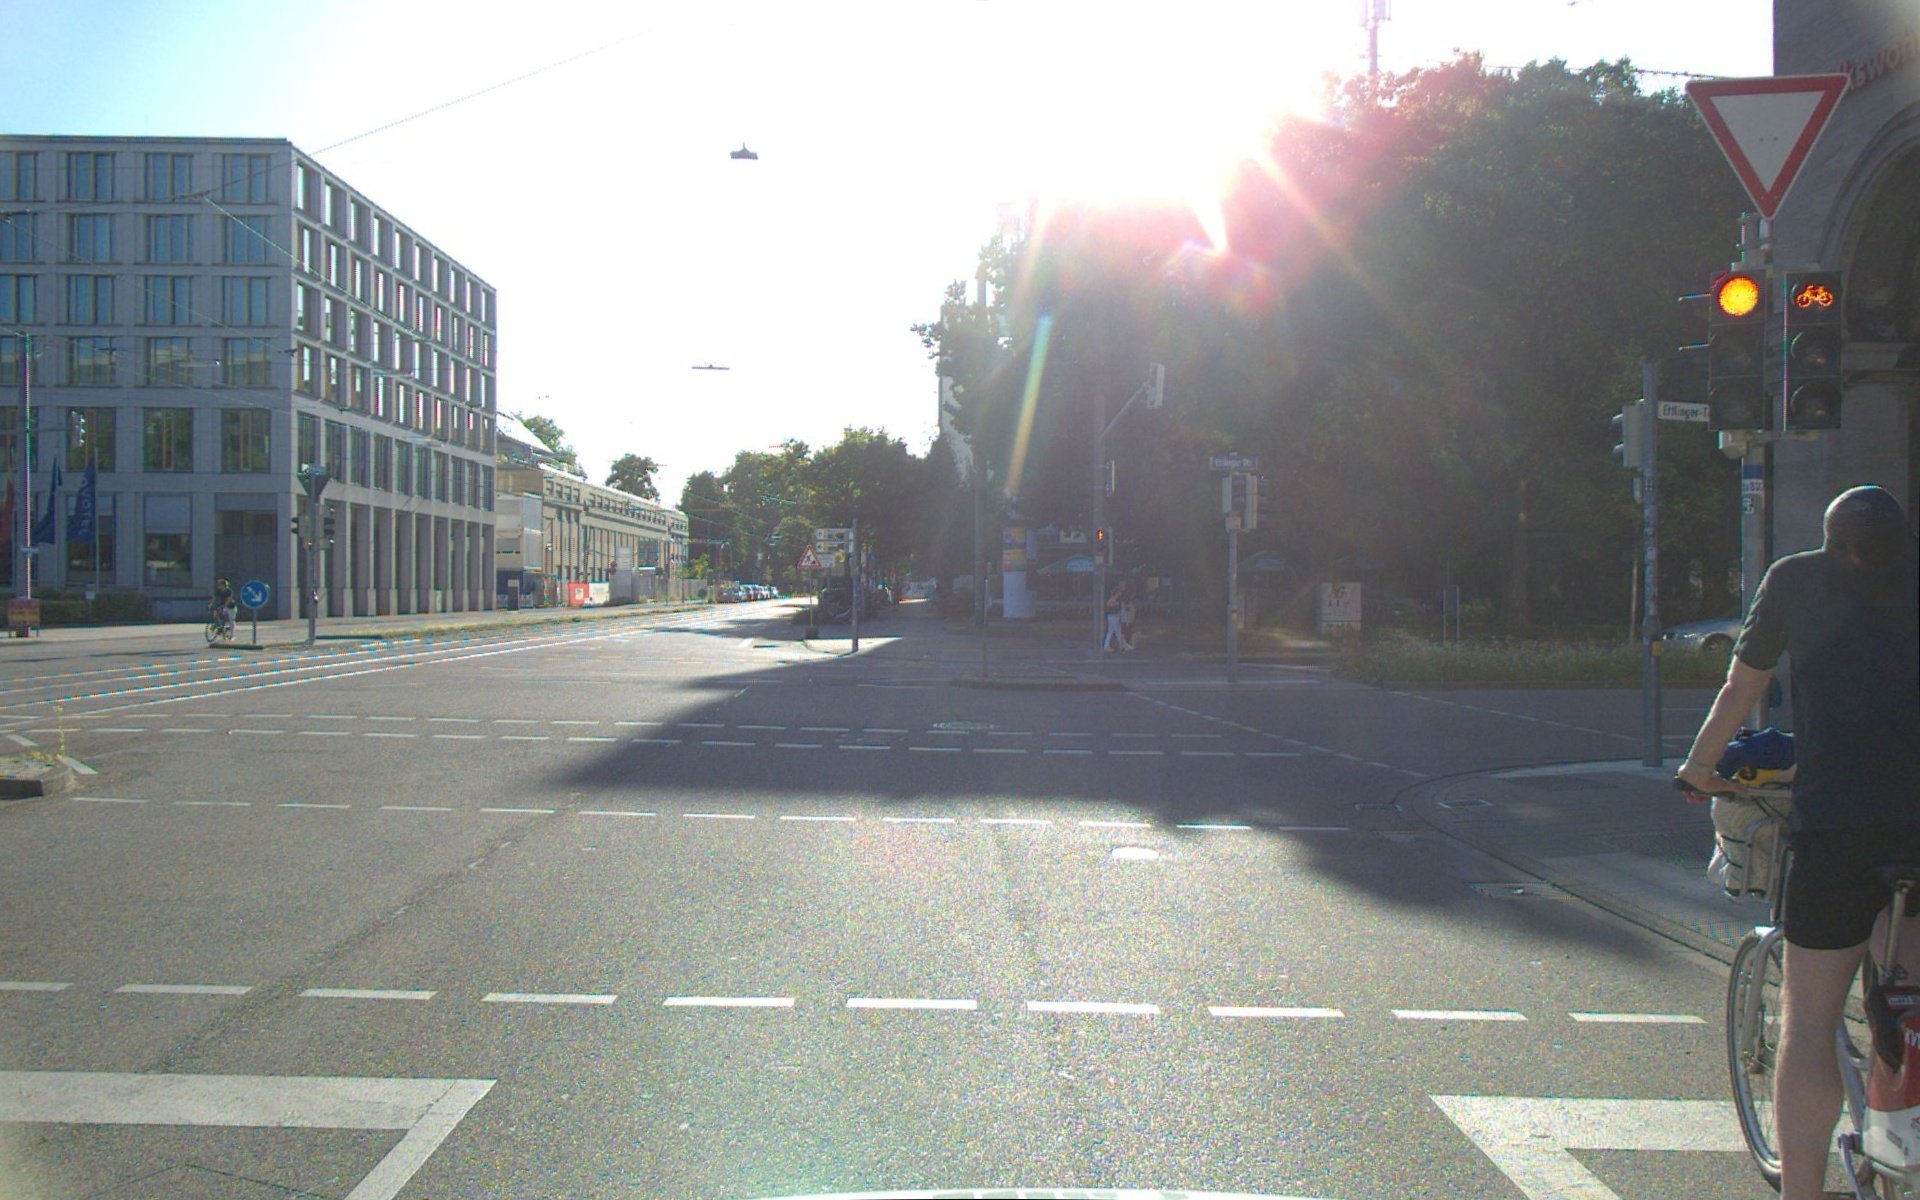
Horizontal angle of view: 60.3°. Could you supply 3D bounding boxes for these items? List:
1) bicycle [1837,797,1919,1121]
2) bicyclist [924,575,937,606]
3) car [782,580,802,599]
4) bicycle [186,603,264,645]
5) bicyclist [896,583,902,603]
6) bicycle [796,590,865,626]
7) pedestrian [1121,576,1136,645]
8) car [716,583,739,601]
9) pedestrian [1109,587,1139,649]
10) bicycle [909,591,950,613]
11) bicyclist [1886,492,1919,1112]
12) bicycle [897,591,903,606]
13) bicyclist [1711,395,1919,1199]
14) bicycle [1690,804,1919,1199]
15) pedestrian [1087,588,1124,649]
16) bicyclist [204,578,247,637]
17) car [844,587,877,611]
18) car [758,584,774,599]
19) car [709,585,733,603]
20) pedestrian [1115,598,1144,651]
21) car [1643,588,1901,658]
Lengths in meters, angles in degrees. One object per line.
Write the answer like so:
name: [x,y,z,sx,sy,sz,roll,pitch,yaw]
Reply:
bicycle: [3.007,1.084,4.355,0.418,0.891,1.951,0,0,2]
bicyclist: [-1.809,-0.589,102.760,0.788,1.876,0.731,0,0,-2]
car: [-19.623,-1.206,193.252,1.953,2.049,3.999,1,0,-1]
bicycle: [-21.009,0.681,47.345,0.857,1.140,3.013,0,0,0]
bicyclist: [-3.614,-0.411,98.326,0.311,1.147,0.291,0,0,7]
bicycle: [-5.235,0.330,67.060,2.688,1.391,0.631,1,-1,10]
pedestrian: [4.527,0.277,44.510,0.353,1.836,0.507,0,0,11]
car: [-22.429,-0.766,159.614,1.695,1.682,3.999,0,0,-1]
pedestrian: [4.424,0.487,44.657,0.778,1.668,0.534,0,0,9]
bicycle: [-1.888,0.130,102.591,2.517,1.311,0.728,1,0,-1]
bicyclist: [2.887,0.556,4.282,0.511,1.709,0.859,0,0,2]
bicycle: [-3.569,-0.077,98.525,0.317,0.883,1.483,0,0,-1]
bicyclist: [2.147,0.426,3.733,0.655,1.707,0.657,0,0,8]
bicycle: [2.223,1.068,3.904,0.381,0.921,1.952,0,0,8]
pedestrian: [3.874,0.491,44.082,0.963,1.615,0.660,0,-1,4]
bicyclist: [-21.010,0.211,47.326,0.857,1.670,0.822,0,0,0]
car: [-5.532,-0.062,92.198,1.783,1.301,3.998,0,0,-3]
car: [-22.669,-0.981,193.801,1.453,1.780,3.999,0,0,-1]
car: [-22.446,-0.583,155.508,1.695,1.682,3.999,0,0,-1]
pedestrian: [4.427,0.636,43.287,0.736,1.356,0.743,0,0,7]
car: [16.373,0.448,33.483,4.350,1.352,1.777,0,0,2]
